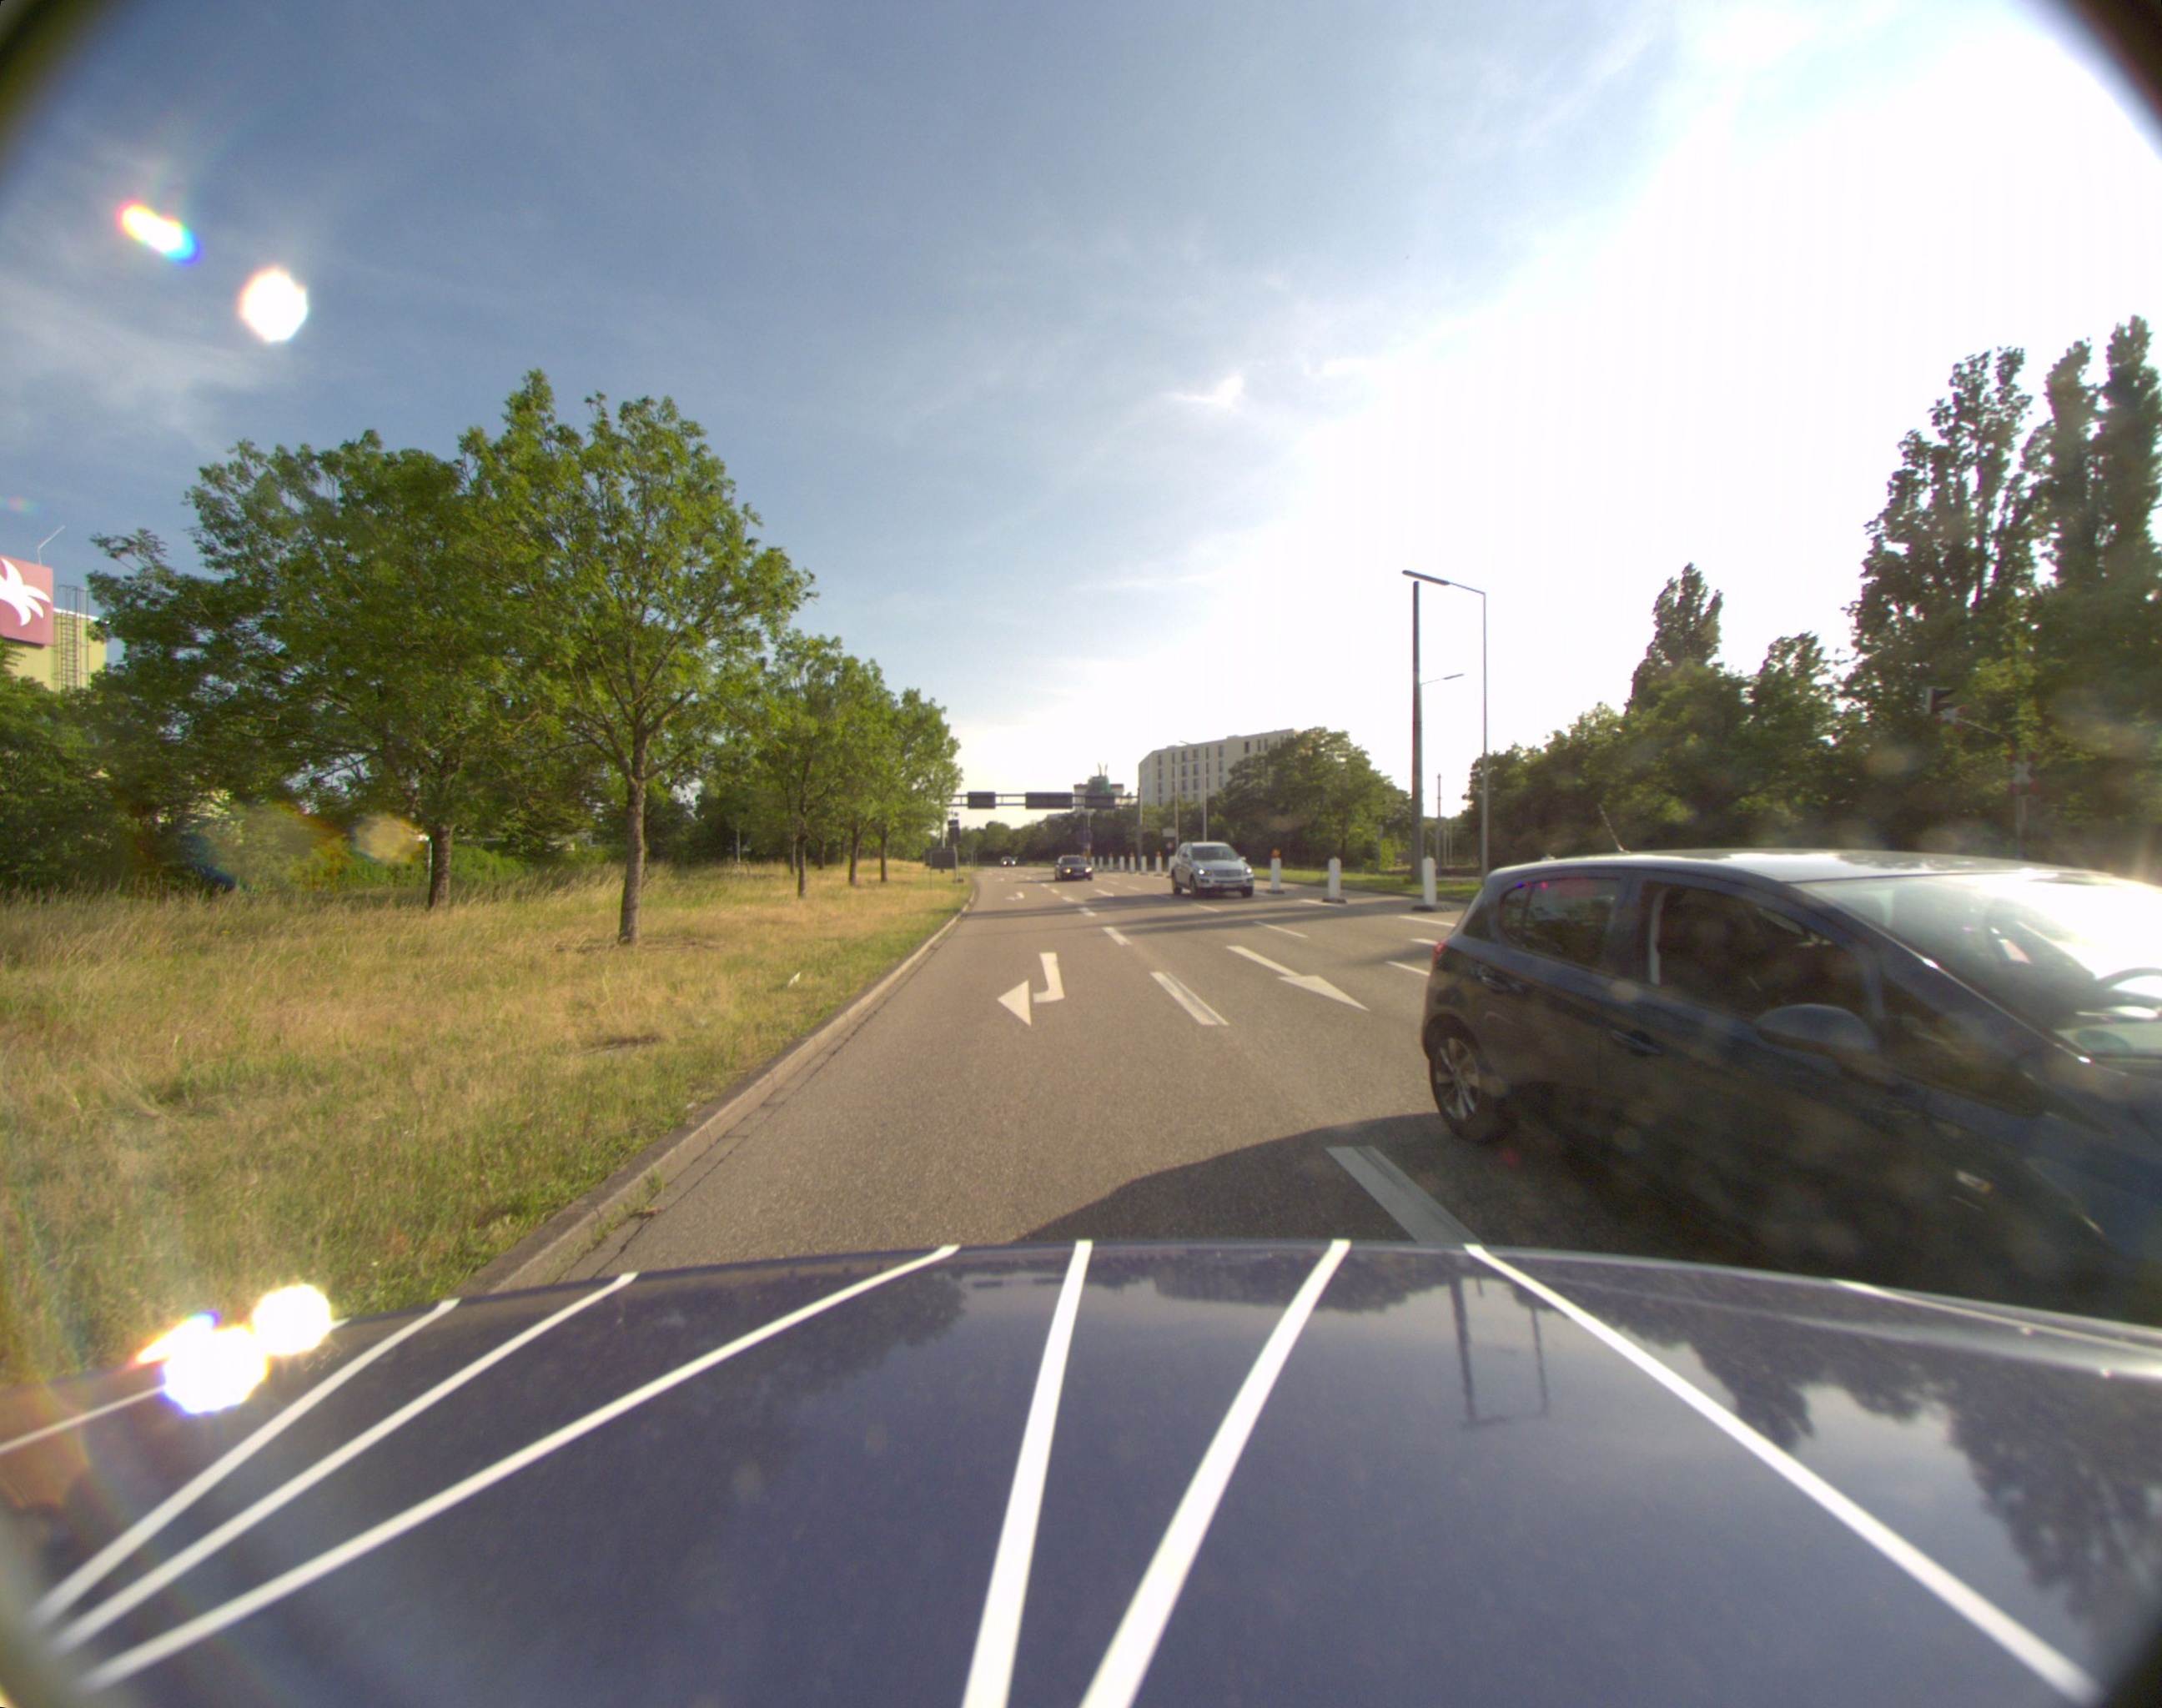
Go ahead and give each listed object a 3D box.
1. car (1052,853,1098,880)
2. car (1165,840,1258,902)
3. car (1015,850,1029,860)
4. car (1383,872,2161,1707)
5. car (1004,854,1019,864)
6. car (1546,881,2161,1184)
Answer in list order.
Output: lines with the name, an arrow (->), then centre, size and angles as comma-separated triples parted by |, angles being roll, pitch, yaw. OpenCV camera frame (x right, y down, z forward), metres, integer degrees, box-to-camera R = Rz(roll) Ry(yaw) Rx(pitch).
car -> -0.392, 0.669, 43.181 | 1.902, 1.377, 4.352 | -2, 0, -10
car -> 4.242, 0.514, 25.393 | 1.902, 1.813, 4.353 | -2, 0, -6
car -> -12.698, 0.204, 163.784 | 2.001, 2.002, 5.350 | -1, 0, -16
car -> 2.771, 0.872, 2.475 | 1.746, 1.496, 4.221 | -1, 0, -2
car -> -10.219, 0.706, 111.264 | 1.896, 1.447, 3.906 | -1, 1, -8
car -> 5.495, 0.910, 5.530 | 1.736, 1.199, 3.846 | -2, 0, -2
